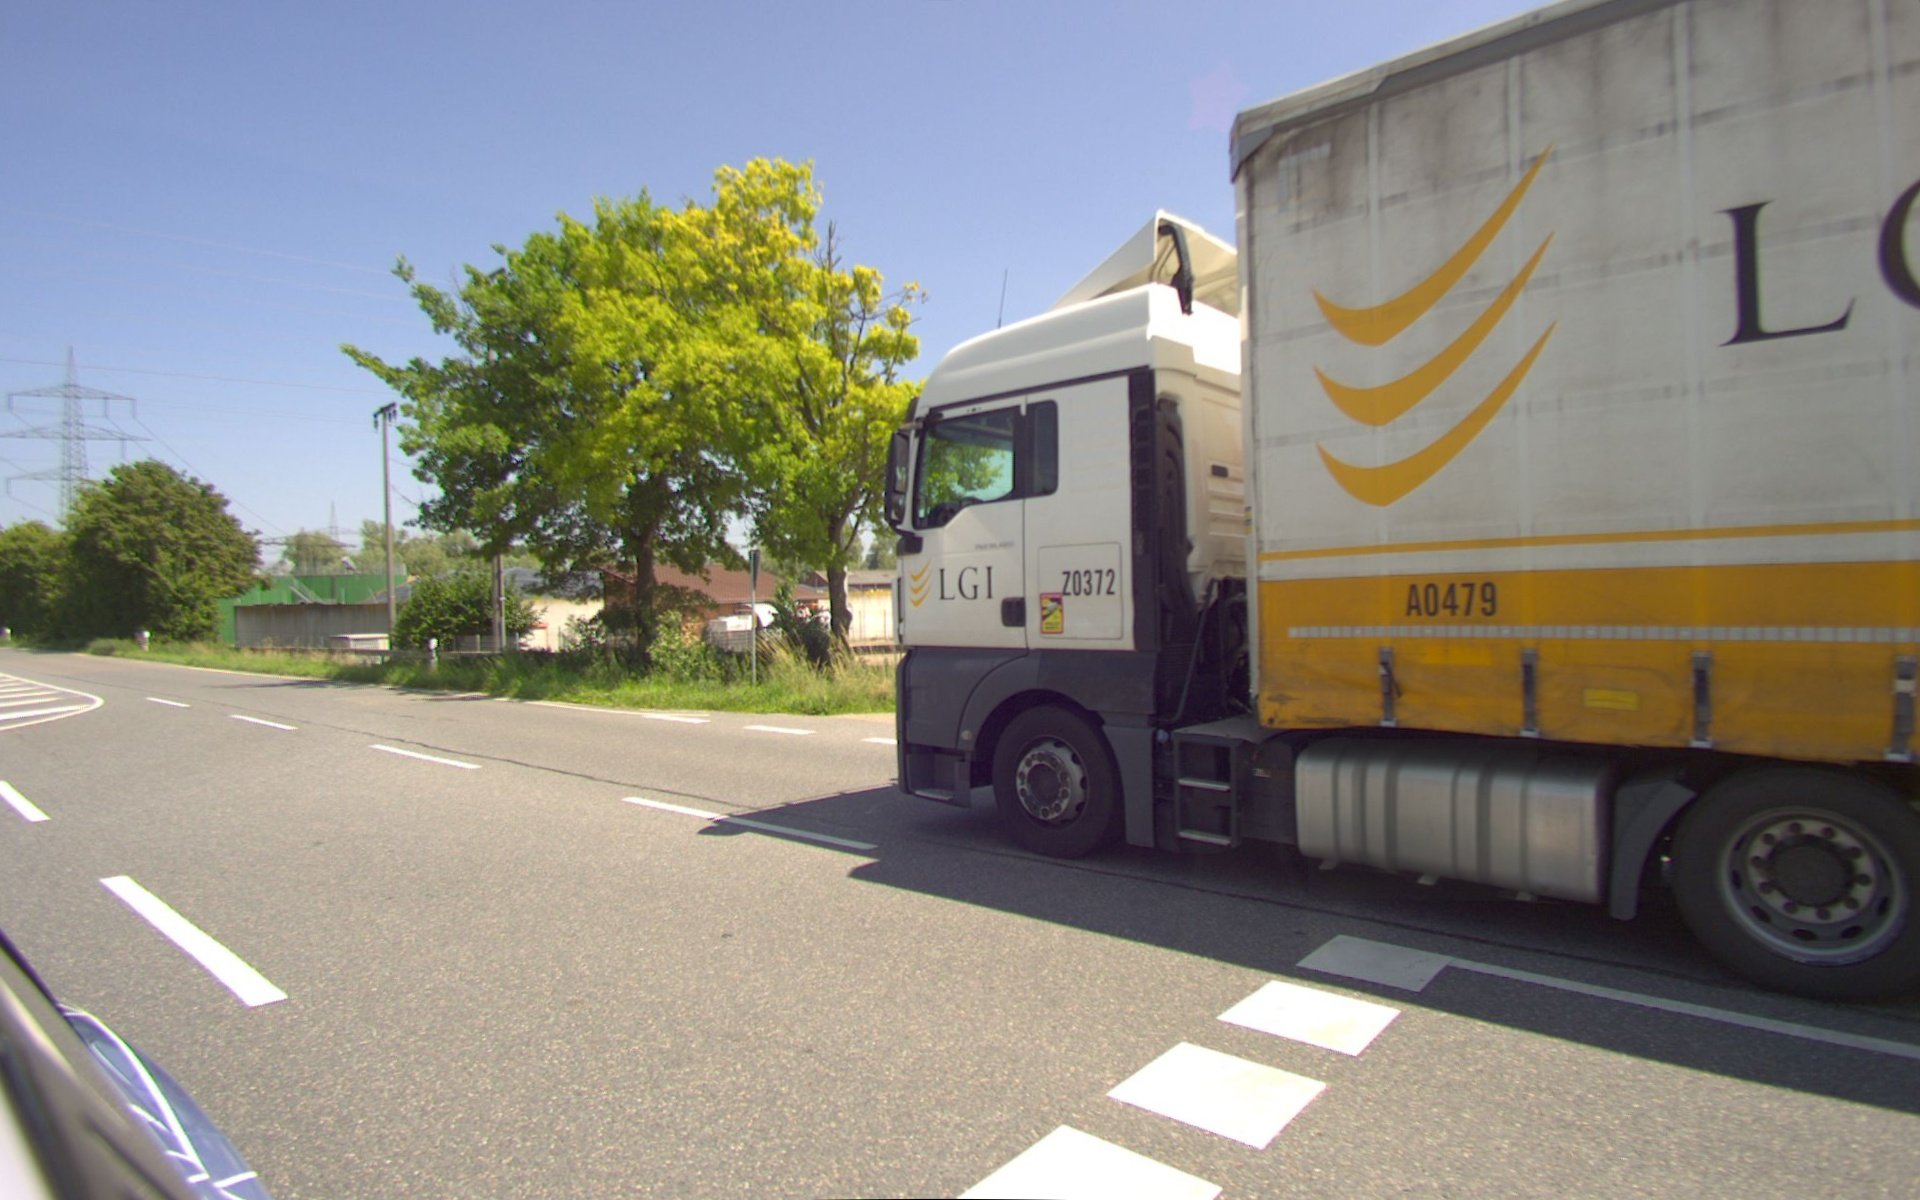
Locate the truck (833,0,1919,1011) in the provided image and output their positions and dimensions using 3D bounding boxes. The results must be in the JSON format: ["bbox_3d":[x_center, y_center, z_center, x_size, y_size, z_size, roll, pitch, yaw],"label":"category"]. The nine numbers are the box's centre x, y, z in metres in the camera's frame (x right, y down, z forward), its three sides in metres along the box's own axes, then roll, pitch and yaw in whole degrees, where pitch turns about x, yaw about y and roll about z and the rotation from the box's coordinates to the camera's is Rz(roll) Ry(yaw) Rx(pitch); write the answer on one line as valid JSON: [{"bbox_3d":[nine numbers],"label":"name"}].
[{"bbox_3d":[2.667,-0.662,5.658,6.750,4.087,2.761,-2,1,41],"label":"truck"}]

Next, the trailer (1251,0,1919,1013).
[{"bbox_3d":[7.456,-0.846,1.453,13.494,4.087,2.761,-2,1,41],"label":"trailer"}]
